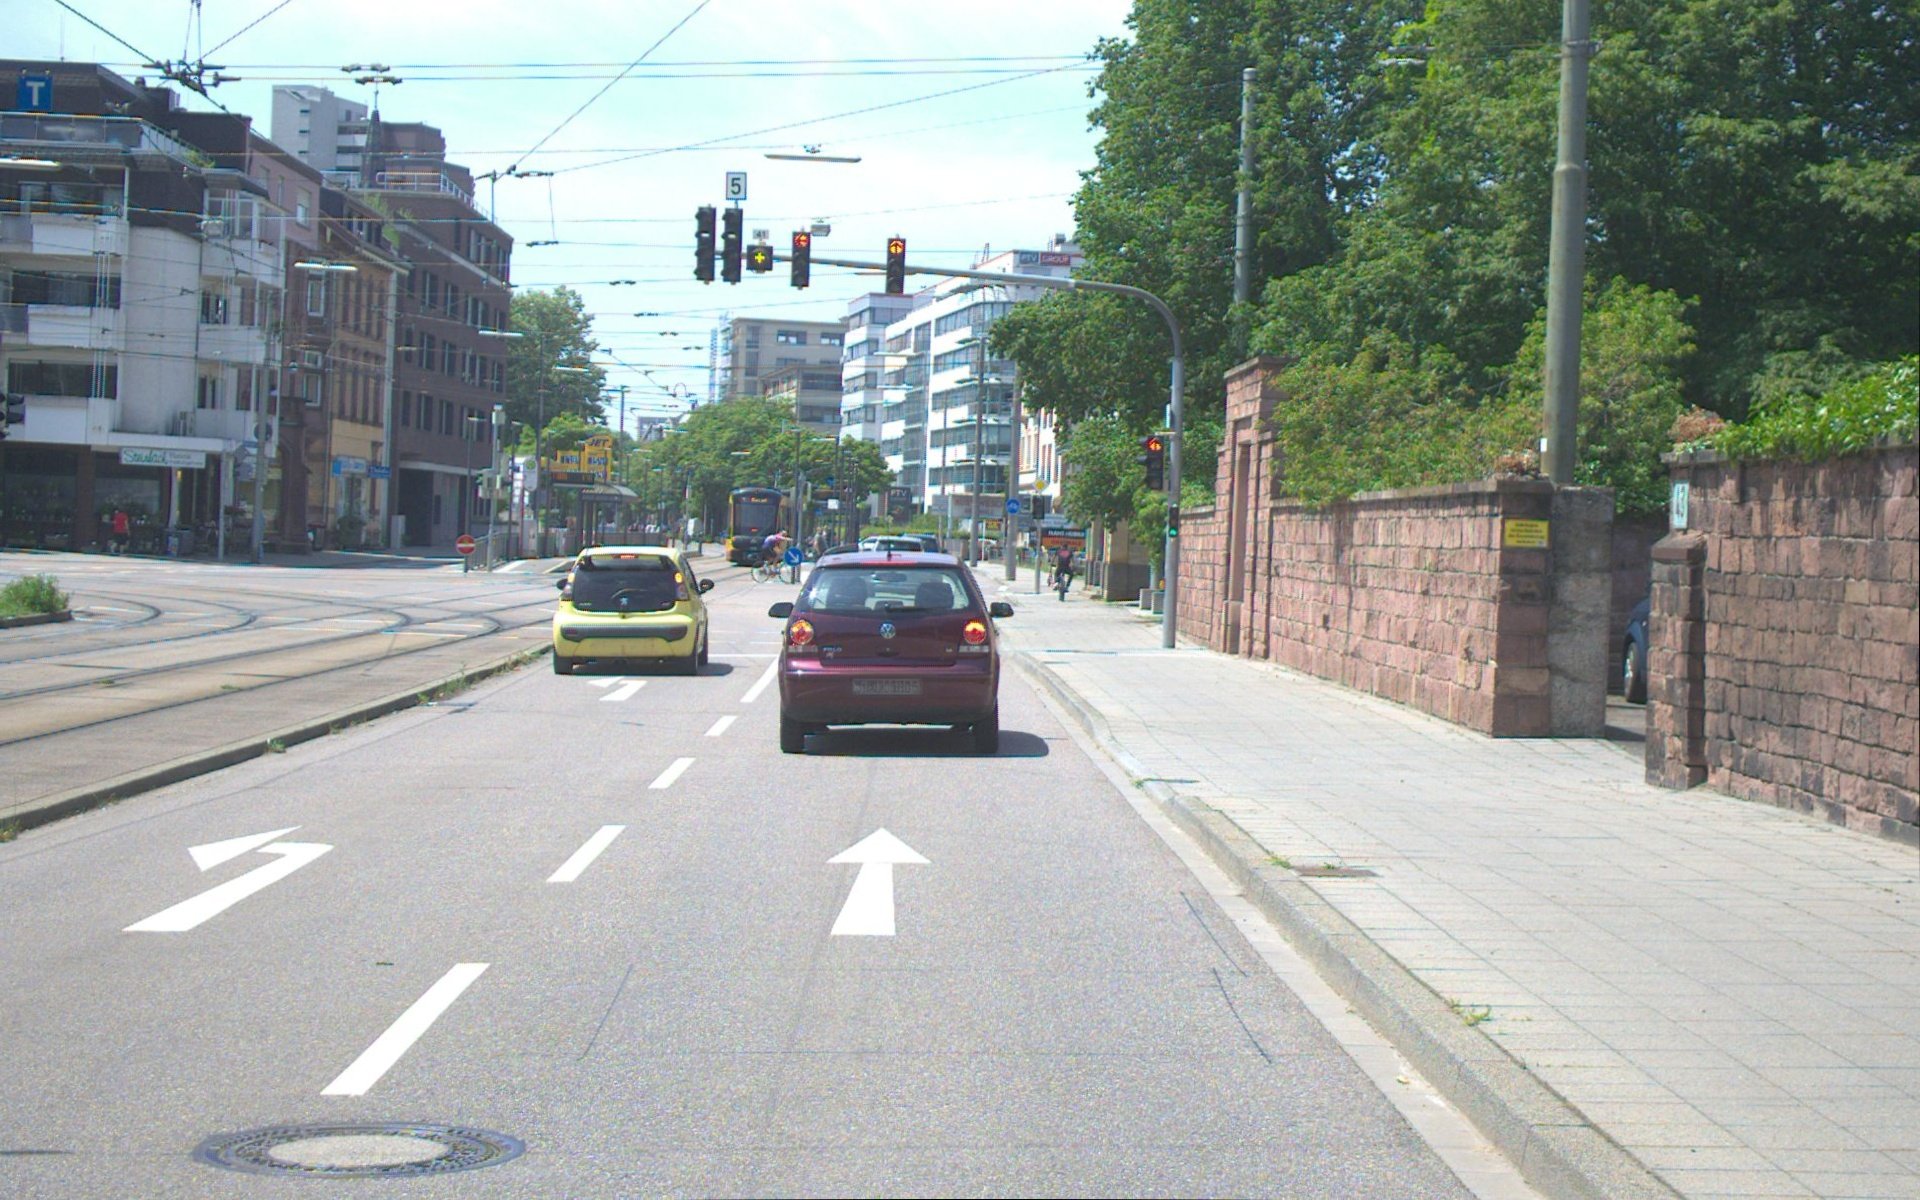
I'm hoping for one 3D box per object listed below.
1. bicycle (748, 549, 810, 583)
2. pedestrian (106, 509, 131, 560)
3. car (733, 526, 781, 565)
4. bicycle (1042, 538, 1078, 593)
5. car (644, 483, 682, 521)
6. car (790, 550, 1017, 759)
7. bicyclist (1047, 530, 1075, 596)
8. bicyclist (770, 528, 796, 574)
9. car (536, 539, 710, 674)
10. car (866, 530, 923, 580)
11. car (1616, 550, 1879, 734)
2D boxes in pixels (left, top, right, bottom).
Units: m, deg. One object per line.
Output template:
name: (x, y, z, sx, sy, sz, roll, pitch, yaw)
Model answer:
bicycle: (-5.561, -1.041, 105.314, 1.865, 1.004, 0.579, 1, 0, -5)
pedestrian: (-25.598, -2.003, 104.572, 0.537, 1.535, 0.485, 1, 0, -45)
car: (-8.941, -2.397, 151.685, 1.938, 1.635, 4.000, 1, 0, -1)
bicycle: (2.812, -0.966, 96.901, 0.835, 1.520, 4.000, 1, 0, 0)
car: (-16.320, -5.388, 188.987, 1.735, 2.007, 4.000, 2, 1, 0)
car: (-0.436, 0.355, 26.407, 1.610, 1.458, 4.086, 0, 1, -1)
bicyclist: (2.817, -1.027, 95.841, 0.721, 1.812, 0.888, 1, 0, 0)
bicyclist: (-5.419, -1.491, 105.291, 0.765, 1.401, 0.506, 1, 0, -4)
car: (-3.831, 0.047, 39.536, 1.723, 1.440, 3.293, 0, 2, -1)
car: (-1.859, -1.287, 97.328, 1.572, 1.411, 3.720, 0, 1, -1)
car: (6.977, 0.338, 30.694, 1.480, 1.477, 2.945, 3, 1, -3)
